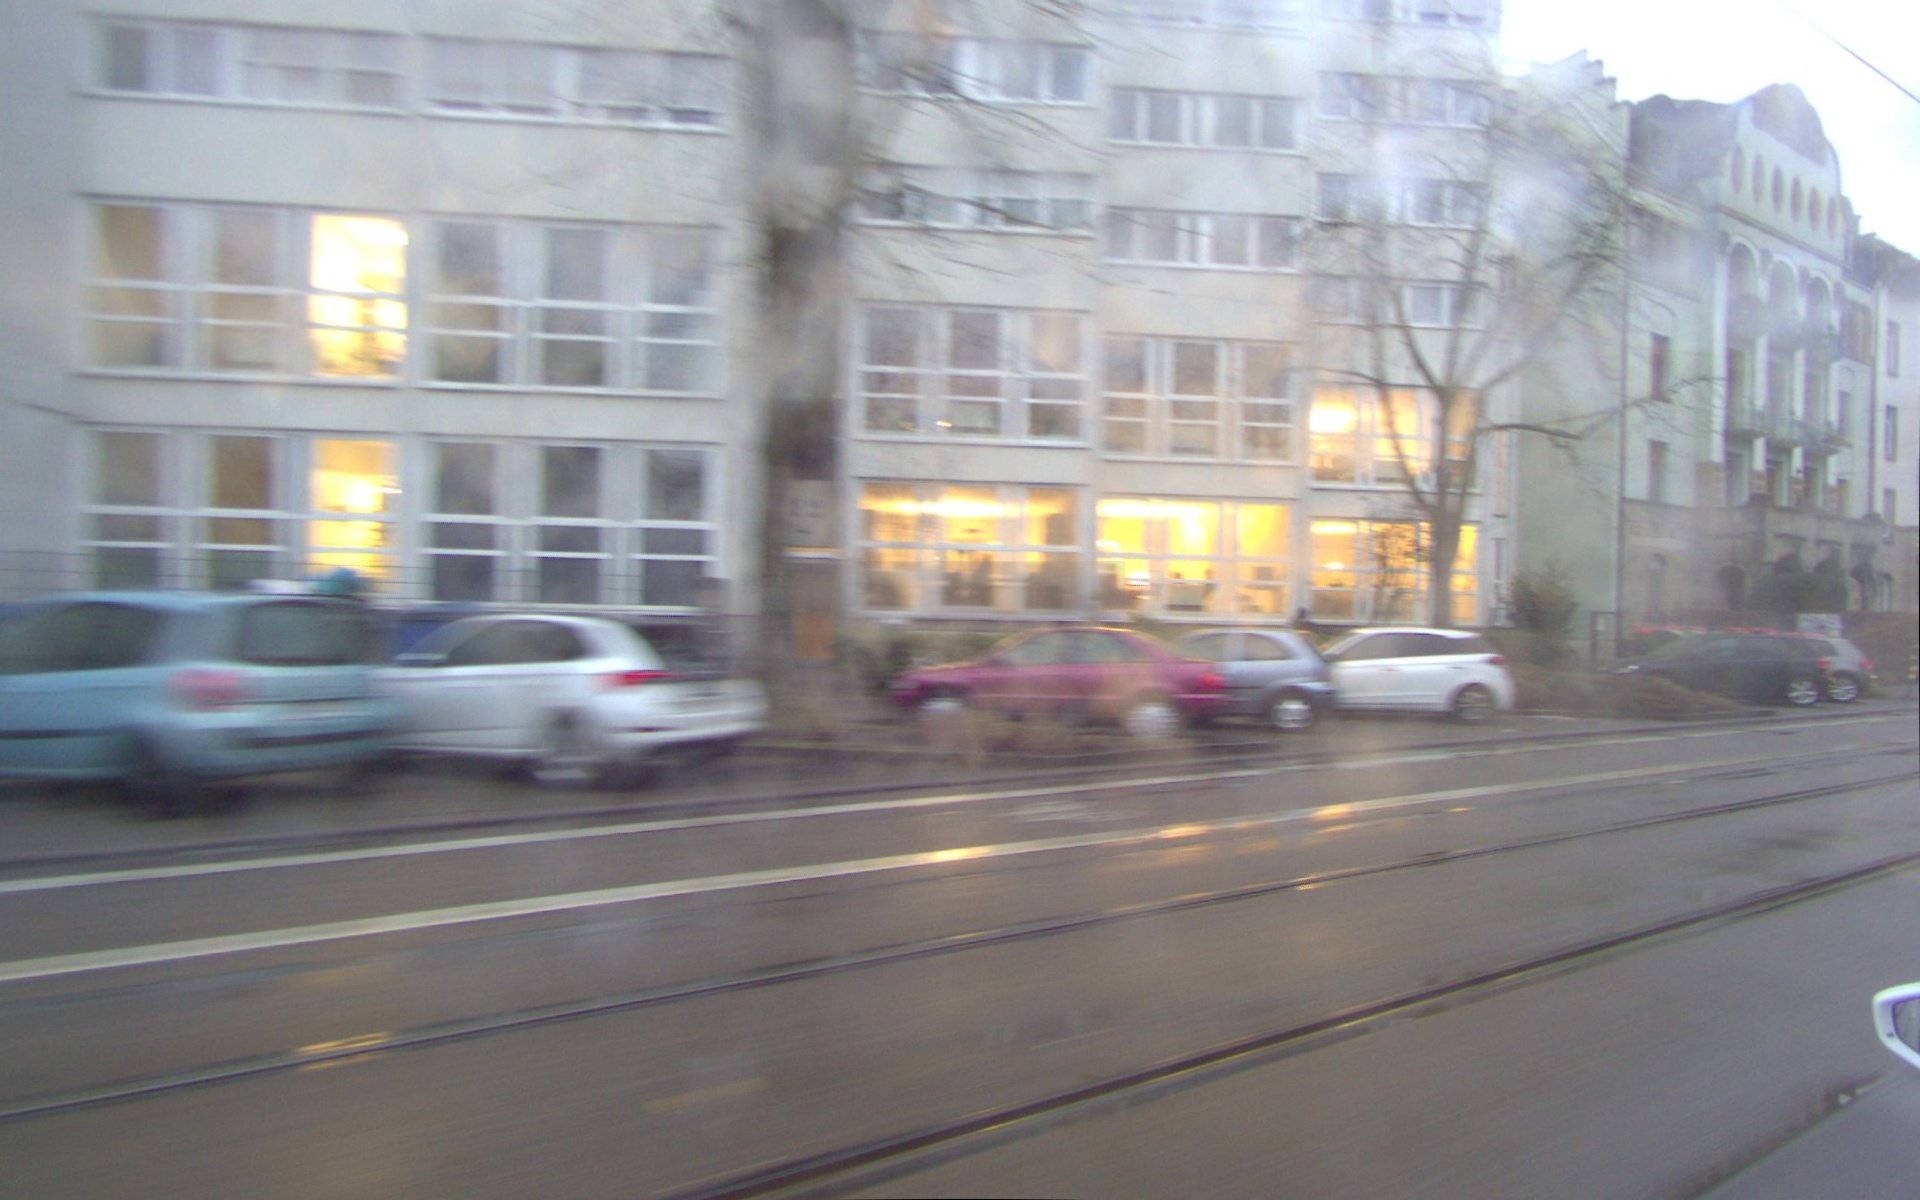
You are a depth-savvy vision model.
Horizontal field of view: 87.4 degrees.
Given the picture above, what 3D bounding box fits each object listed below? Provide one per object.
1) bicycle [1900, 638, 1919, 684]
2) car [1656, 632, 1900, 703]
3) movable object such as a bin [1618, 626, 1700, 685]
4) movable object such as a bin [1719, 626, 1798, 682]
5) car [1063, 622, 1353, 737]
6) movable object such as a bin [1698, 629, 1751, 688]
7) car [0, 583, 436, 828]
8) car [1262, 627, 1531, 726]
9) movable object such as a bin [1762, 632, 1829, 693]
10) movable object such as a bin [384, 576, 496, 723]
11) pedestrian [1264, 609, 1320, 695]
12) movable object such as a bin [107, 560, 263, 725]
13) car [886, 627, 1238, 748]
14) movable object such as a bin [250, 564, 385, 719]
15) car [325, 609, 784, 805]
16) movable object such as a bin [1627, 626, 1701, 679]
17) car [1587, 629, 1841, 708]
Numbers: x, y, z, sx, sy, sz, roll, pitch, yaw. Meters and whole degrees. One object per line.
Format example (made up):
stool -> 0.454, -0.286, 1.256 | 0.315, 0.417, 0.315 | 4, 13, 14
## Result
bicycle -> 26.983, 1.698, 28.131 | 1.581, 1.228, 0.687 | 1, -1, -36
car -> 18.552, 1.492, 22.992 | 3.920, 1.447, 1.849 | 0, -1, 17
movable object such as a bin -> 18.199, 1.430, 26.168 | 1.307, 1.470, 1.260 | 1, -1, -23
movable object such as a bin -> 22.180, 1.474, 27.908 | 1.307, 1.470, 1.260 | 1, -1, -23
car -> 3.669, 1.103, 14.873 | 3.924, 1.482, 1.736 | 0, -2, 25
movable object such as a bin -> 19.912, 1.506, 26.154 | 1.075, 1.470, 1.107 | 0, -1, 38
car -> -6.381, 0.693, 7.917 | 3.920, 1.584, 1.737 | 0, -1, 18
car -> 6.944, 1.181, 16.362 | 3.774, 1.442, 1.738 | 0, -1, 14
movable object such as a bin -> 20.960, 1.546, 25.237 | 1.247, 1.470, 1.107 | 0, -1, 38
movable object such as a bin -> -7.195, 0.638, 13.886 | 1.302, 1.885, 1.563 | 0, 0, -29
pedestrian -> 6.723, 1.029, 20.323 | 0.962, 1.699, 0.594 | 1, -1, -31
movable object such as a bin -> -9.564, 0.491, 12.497 | 1.302, 1.885, 1.563 | 0, 0, -29
car -> 1.342, 1.063, 13.032 | 4.259, 1.370, 1.751 | 0, -2, 12
movable object such as a bin -> -8.376, 0.507, 13.203 | 1.376, 1.885, 1.563 | 0, 0, -29
car -> -3.743, 0.843, 9.220 | 3.926, 1.463, 1.735 | 0, -2, 27
movable object such as a bin -> 20.200, 1.477, 28.824 | 1.307, 1.470, 1.260 | 1, -1, -23
car -> 15.977, 1.406, 21.515 | 3.919, 1.490, 1.833 | 1, -1, 15
